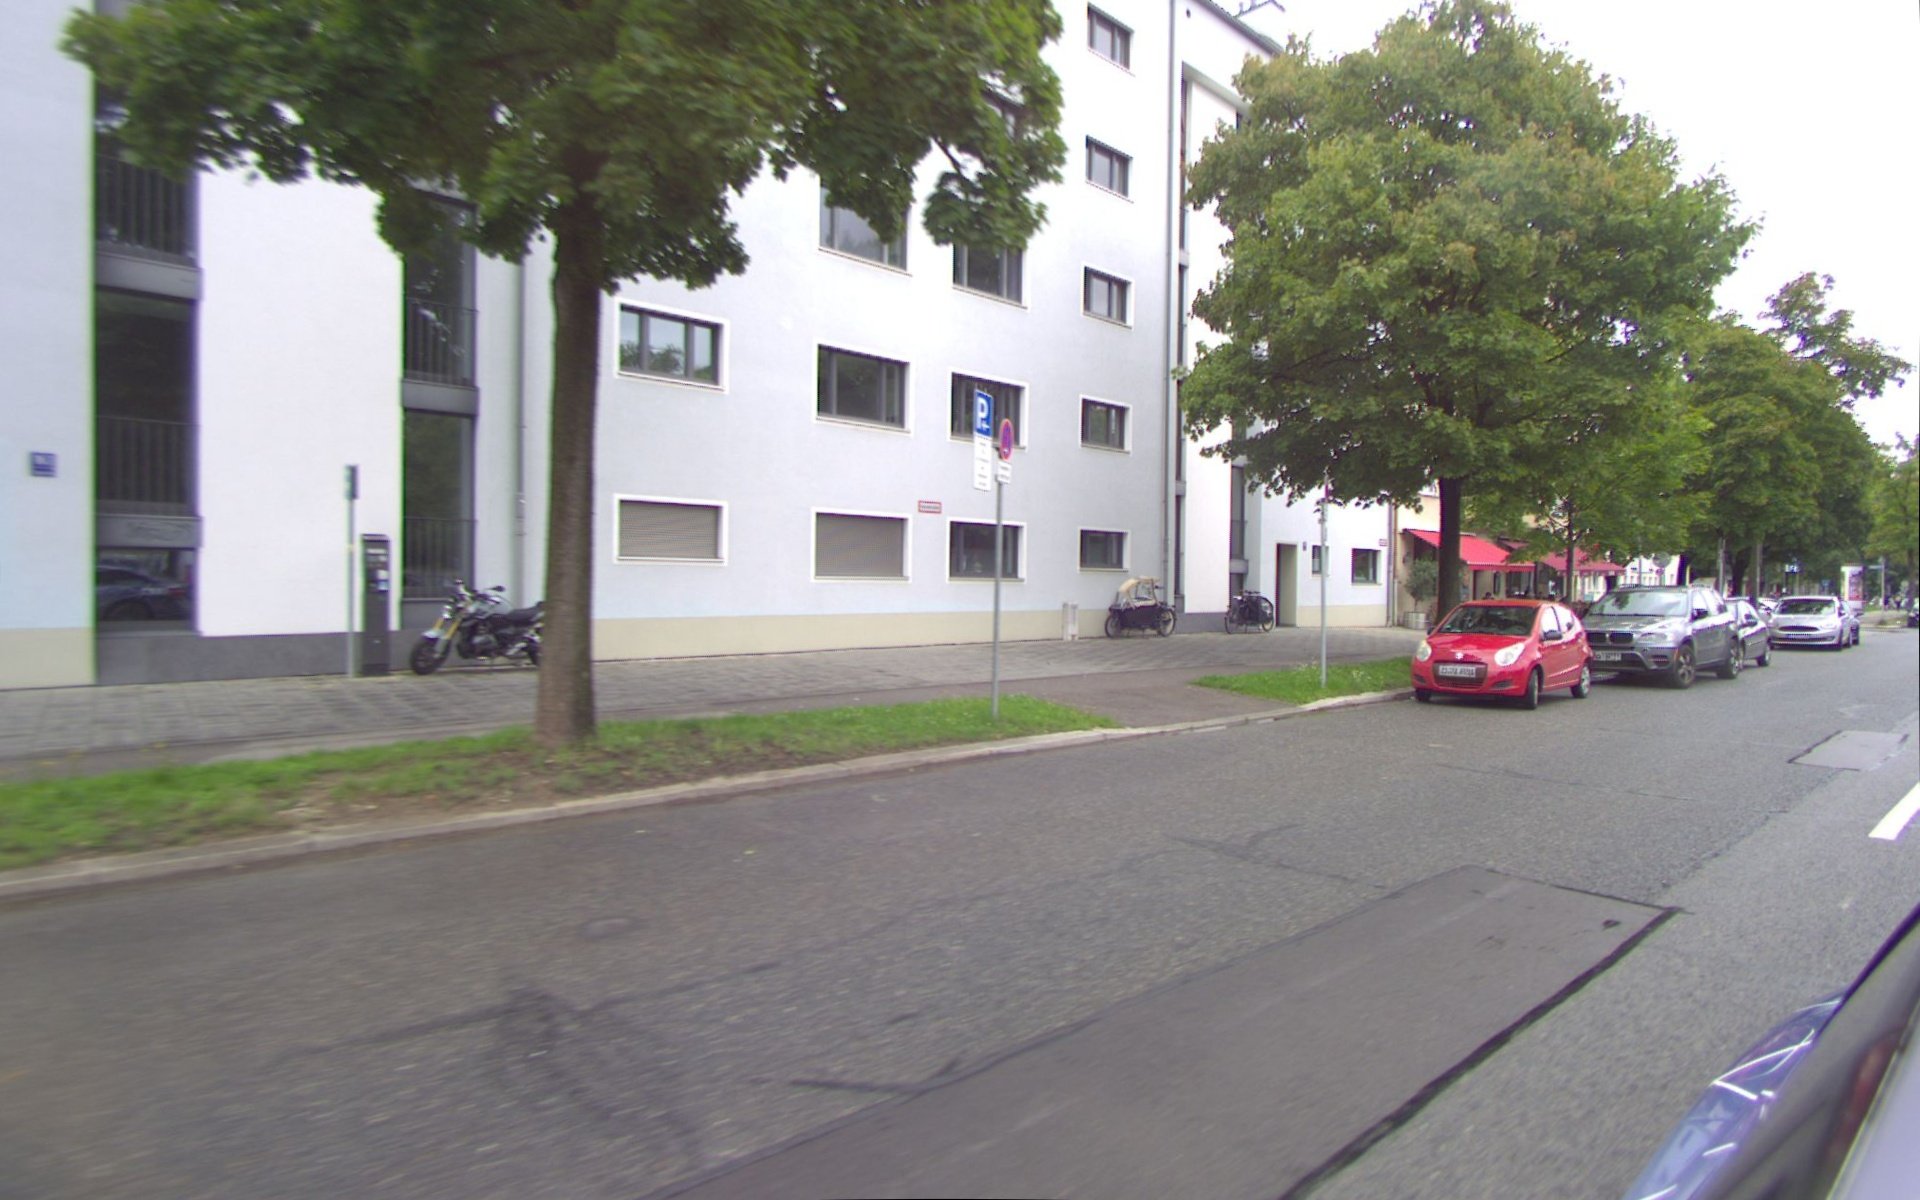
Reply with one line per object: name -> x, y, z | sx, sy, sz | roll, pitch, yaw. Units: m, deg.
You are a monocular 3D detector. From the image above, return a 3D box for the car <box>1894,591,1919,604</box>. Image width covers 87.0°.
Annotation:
car -> 113.135, -0.327, 120.852 | 4.225, 1.486, 1.826 | 0, 1, -41

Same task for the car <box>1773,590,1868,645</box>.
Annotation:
car -> 26.045, 0.473, 30.581 | 4.450, 1.541, 1.830 | 0, 0, -45

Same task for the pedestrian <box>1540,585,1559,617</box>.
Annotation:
pedestrian -> 24.214, 0.042, 41.571 | 0.478, 1.284, 0.539 | 0, 0, -42

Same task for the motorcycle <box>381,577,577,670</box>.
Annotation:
motorcycle -> -6.166, 0.271, 13.055 | 2.161, 1.099, 0.762 | 0, 1, -41

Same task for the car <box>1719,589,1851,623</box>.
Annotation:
car -> 37.529, 0.224, 46.151 | 1.959, 1.460, 4.229 | 0, 1, -26

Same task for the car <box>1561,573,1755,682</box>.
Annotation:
car -> 12.822, 0.420, 18.494 | 4.429, 1.768, 1.833 | 0, 1, -40

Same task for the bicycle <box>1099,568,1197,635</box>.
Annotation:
bicycle -> 4.305, 0.023, 23.066 | 2.547, 1.424, 0.704 | 0, 4, -41

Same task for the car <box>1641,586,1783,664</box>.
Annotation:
car -> 16.487, 0.486, 22.138 | 3.706, 1.541, 1.832 | 0, 1, -42

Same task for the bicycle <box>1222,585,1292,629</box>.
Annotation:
bicycle -> 7.698, 0.173, 26.173 | 2.157, 1.059, 0.623 | 0, 5, -41

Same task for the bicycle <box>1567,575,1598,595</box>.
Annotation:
bicycle -> 37.629, -0.894, 61.193 | 0.687, 1.170, 1.471 | 0, 1, -42

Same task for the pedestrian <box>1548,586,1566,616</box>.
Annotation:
pedestrian -> 24.884, 0.051, 42.169 | 0.478, 1.229, 0.539 | 0, 0, -41

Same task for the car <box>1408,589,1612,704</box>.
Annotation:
car -> 8.159, 0.575, 14.861 | 3.933, 1.459, 1.522 | 0, 1, -44

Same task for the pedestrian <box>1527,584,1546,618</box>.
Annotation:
pedestrian -> 23.269, 0.019, 40.835 | 0.543, 1.356, 0.539 | 0, 0, -42

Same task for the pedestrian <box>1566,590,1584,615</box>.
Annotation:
pedestrian -> 26.197, 0.094, 43.104 | 0.478, 1.067, 0.539 | 0, 0, -41

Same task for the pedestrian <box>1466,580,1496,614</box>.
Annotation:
pedestrian -> 18.937, -0.120, 36.763 | 0.635, 1.177, 0.745 | 0, 2, -41
